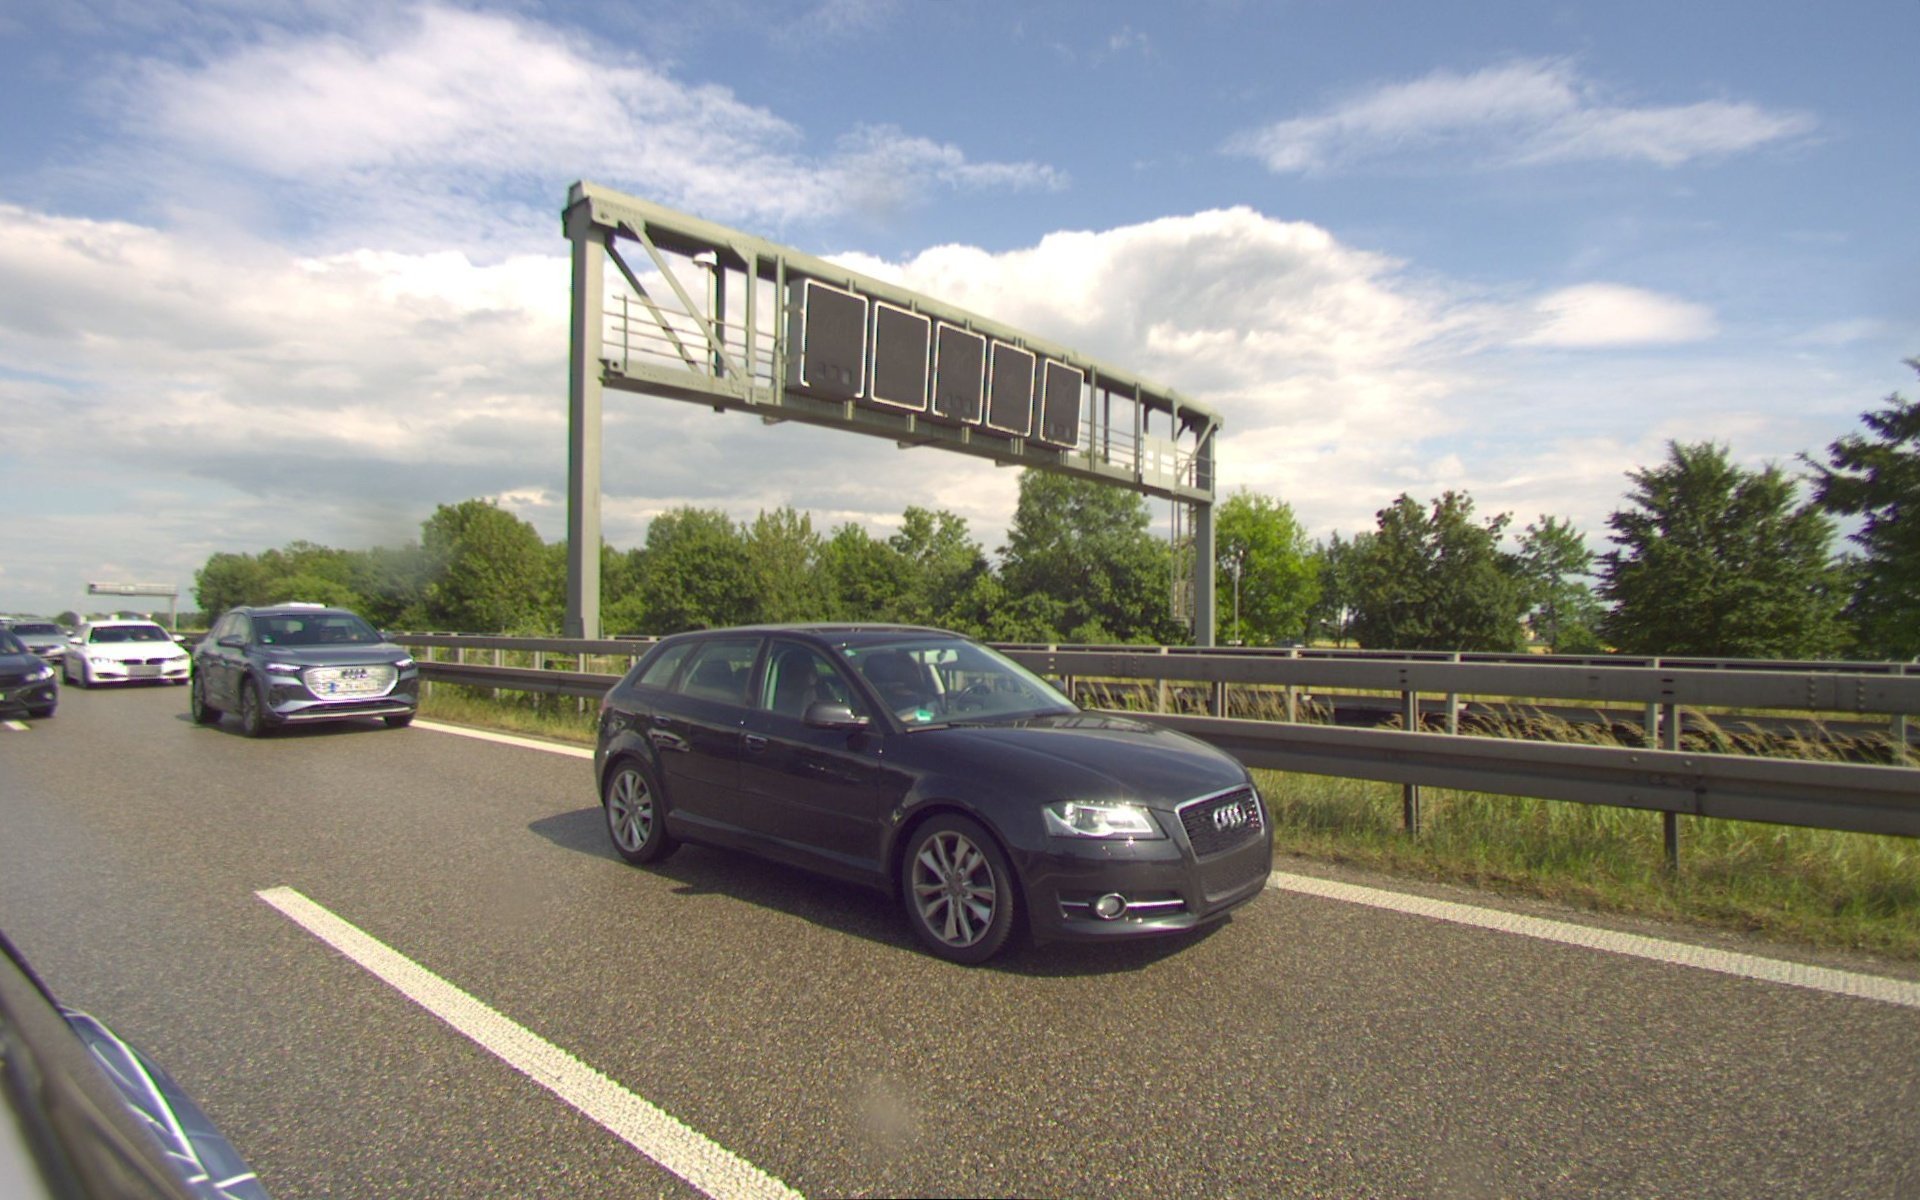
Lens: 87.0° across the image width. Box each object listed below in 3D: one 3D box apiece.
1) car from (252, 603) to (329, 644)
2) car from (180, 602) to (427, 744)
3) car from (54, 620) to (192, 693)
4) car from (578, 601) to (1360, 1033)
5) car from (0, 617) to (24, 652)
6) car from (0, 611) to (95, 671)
[{"bbox_3d":[-35.233,1.245,53.228,5.556,2.029,1.973,-1,-2,41],"label":"car"},{"bbox_3d":[-8.986,0.869,13.707,4.228,1.618,1.850,-1,-1,43],"label":"car"},{"bbox_3d":[-18.474,1.178,22.278,3.998,1.389,1.748,0,0,41],"label":"car"},{"bbox_3d":[-0.248,0.757,5.474,4.138,1.436,1.747,-1,0,43],"label":"car"},{"bbox_3d":[-43.783,1.561,45.581,3.998,1.490,1.973,0,1,41],"label":"car"},{"bbox_3d":[-30.091,1.290,33.275,3.998,1.761,1.973,0,1,41],"label":"car"}]
